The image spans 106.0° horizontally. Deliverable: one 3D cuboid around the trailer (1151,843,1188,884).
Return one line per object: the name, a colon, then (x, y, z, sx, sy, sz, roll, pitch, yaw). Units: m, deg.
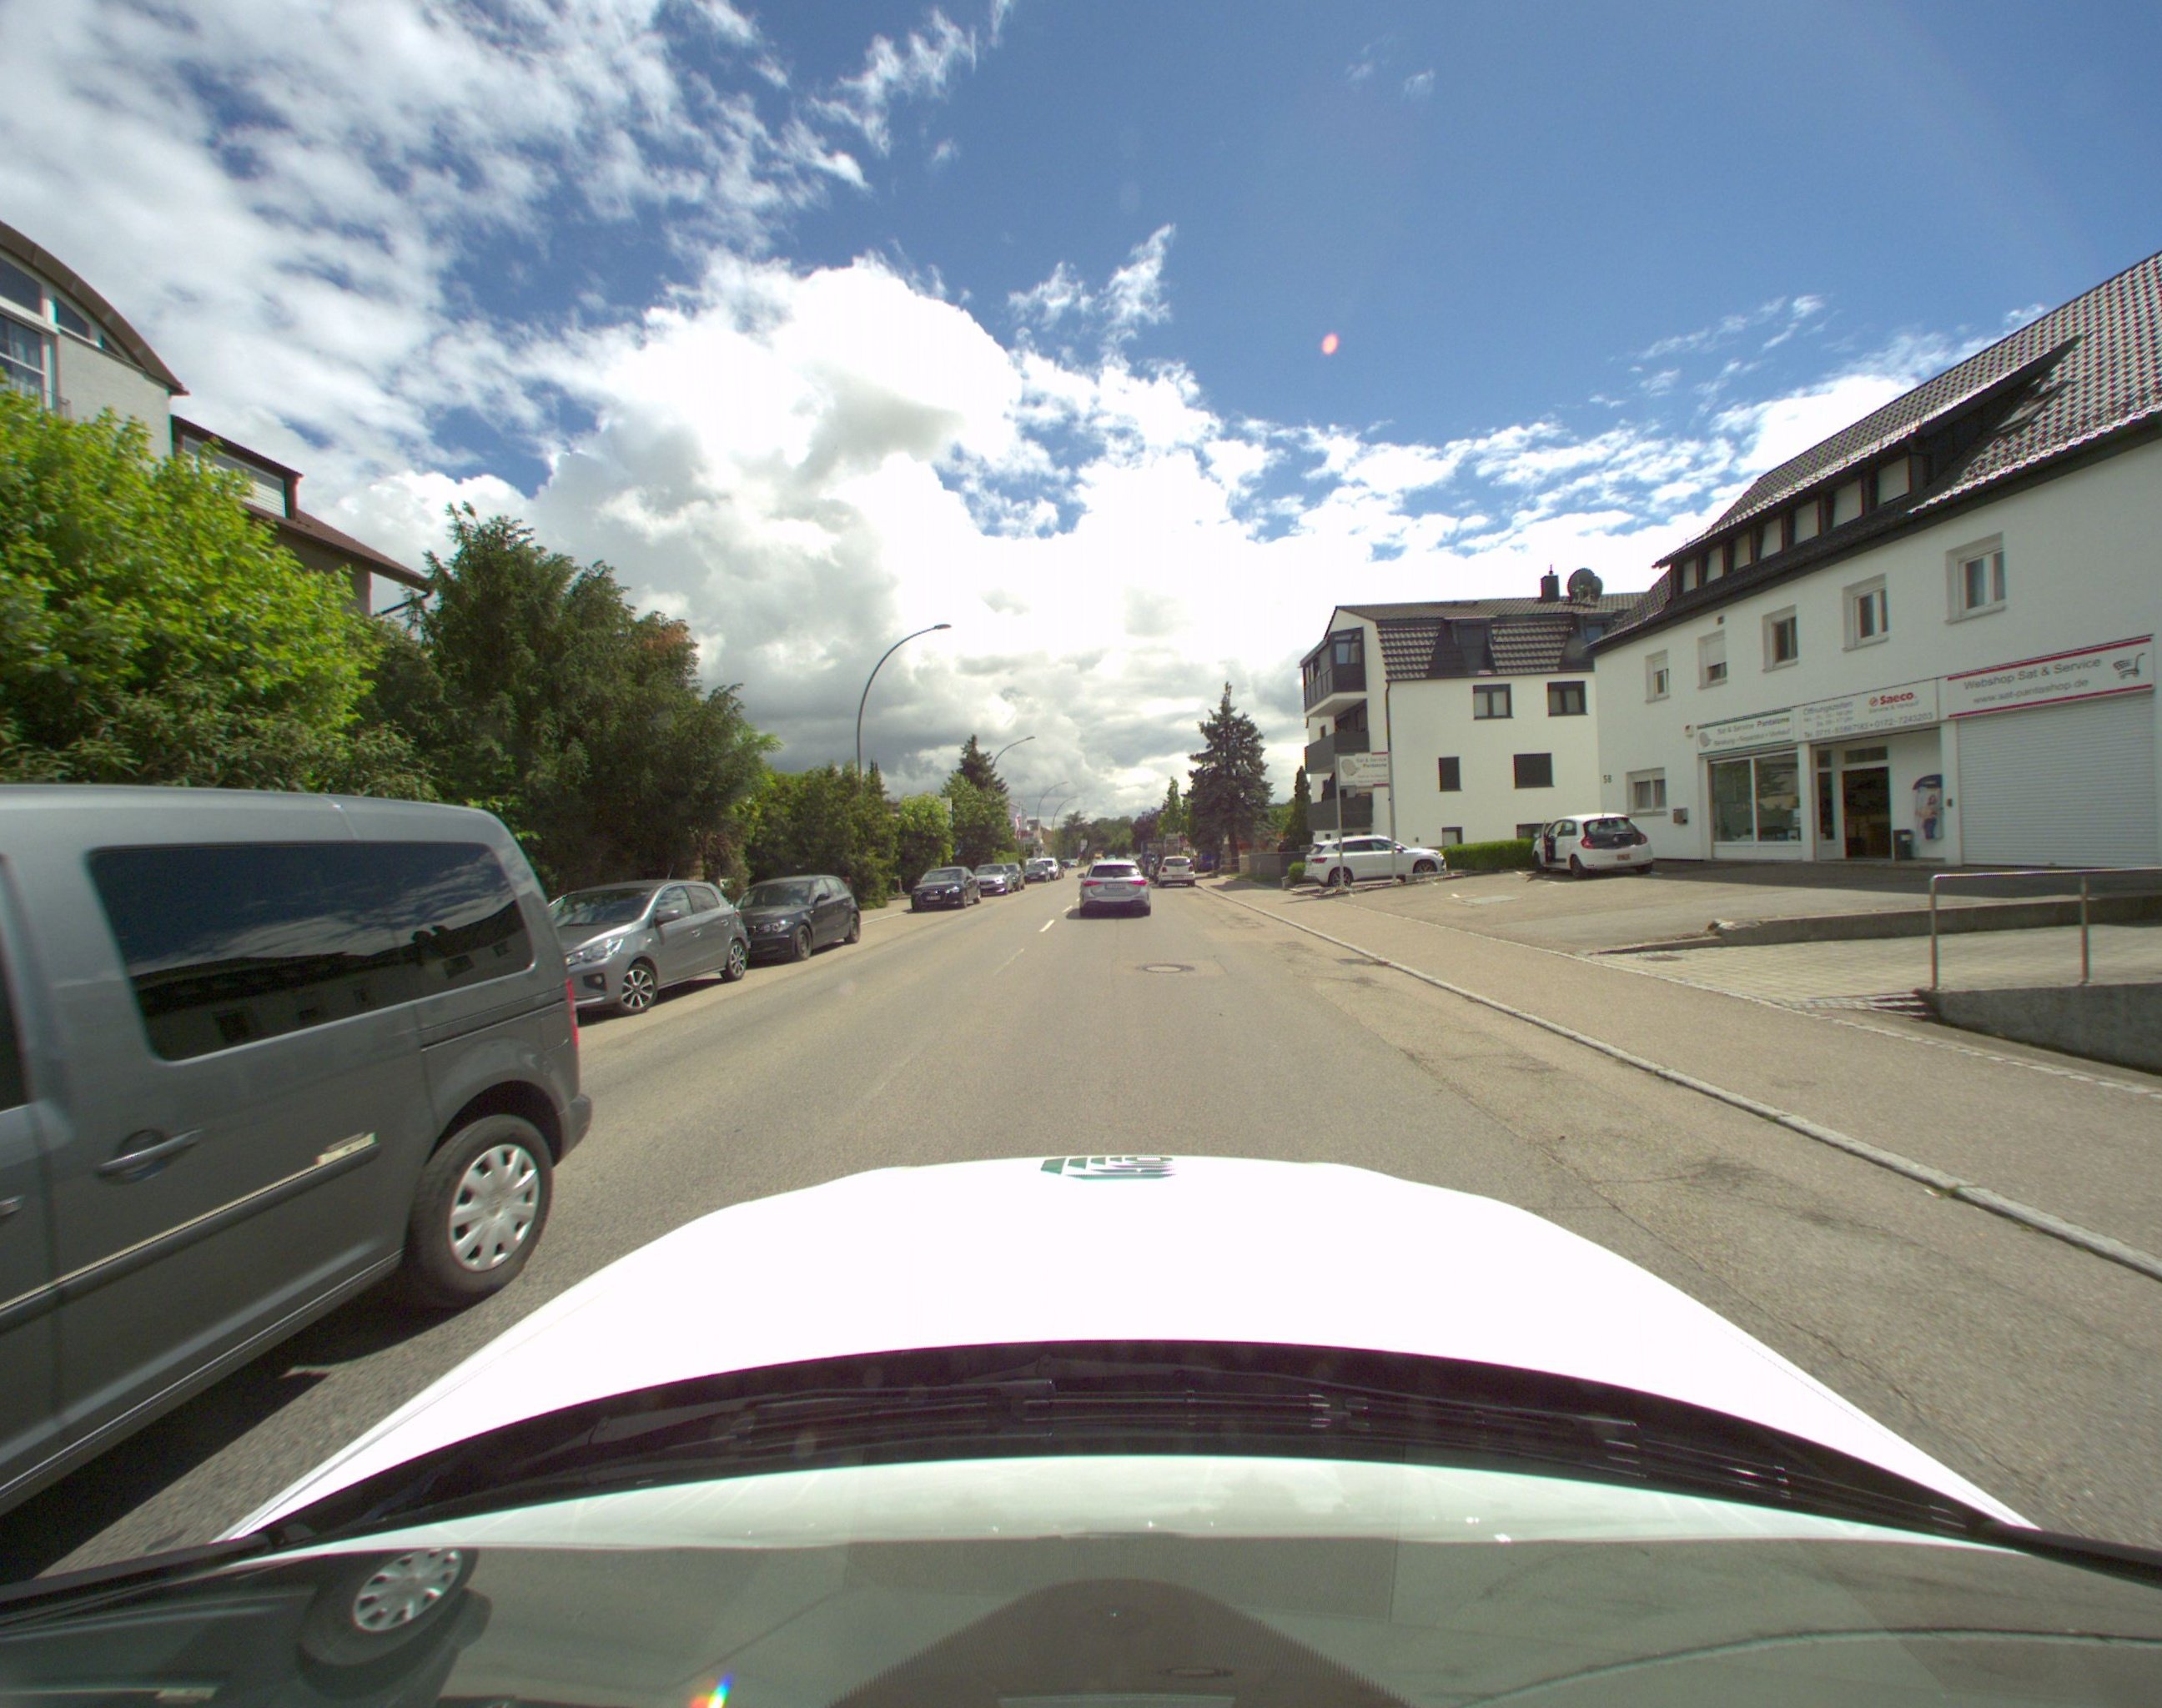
trailer: (4.993, 0.505, 46.421, 1.766, 2.145, 4.116, -3, 0, 2)

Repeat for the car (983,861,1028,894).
car: (-3.877, 1.182, 42.691, 1.713, 1.493, 4.736, -4, 0, 1)

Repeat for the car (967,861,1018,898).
car: (-4.024, 1.128, 37.681, 1.713, 1.432, 4.200, -4, 0, 1)

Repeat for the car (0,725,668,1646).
car: (-2.963, 0.686, 1.822, 1.656, 1.796, 4.340, -4, 0, 2)

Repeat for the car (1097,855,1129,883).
car: (1.907, 0.866, 48.926, 1.750, 1.558, 4.000, -2, 0, 1)

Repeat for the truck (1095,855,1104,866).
truck: (4.990, 1.703, 221.141, 2.066, 2.814, 7.086, -4, 0, 4)

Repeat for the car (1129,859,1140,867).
car: (10.708, 1.774, 163.575, 1.786, 1.450, 4.363, -4, 0, 1)

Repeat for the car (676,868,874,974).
car: (-5.296, 1.076, 14.782, 1.656, 1.435, 4.341, -5, 0, 3)

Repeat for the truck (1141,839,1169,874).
truck: (6.857, 0.228, 76.162, 2.311, 3.097, 6.047, -1, 0, 3)

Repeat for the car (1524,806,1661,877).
car: (12.941, -0.342, 20.866, 1.621, 1.519, 3.675, -6, 1, 10)

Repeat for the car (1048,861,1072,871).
car: (-4.293, 2.392, 164.705, 4.613, 1.632, 2.197, -6, 0, -1)

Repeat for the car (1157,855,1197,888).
car: (4.656, 0.811, 39.856, 1.711, 1.432, 3.989, -4, 0, 5)

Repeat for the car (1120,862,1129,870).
car: (9.138, 2.573, 170.160, 1.749, 1.558, 4.002, -2, 0, 2)

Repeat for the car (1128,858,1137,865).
car: (14.061, 2.038, 222.455, 2.135, 1.984, 5.266, -3, -1, 3)

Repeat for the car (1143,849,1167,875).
car: (6.373, 0.692, 70.573, 1.865, 2.169, 4.468, -1, 0, 3)

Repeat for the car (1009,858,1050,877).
car: (-6.122, 1.593, 97.423, 4.637, 1.972, 2.115, -3, 0, -1)

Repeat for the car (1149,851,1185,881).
car: (5.541, 0.758, 52.930, 1.867, 1.727, 4.714, -3, 0, 1)

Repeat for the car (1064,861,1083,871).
car: (-1.656, 2.630, 182.227, 4.263, 1.836, 1.991, -3, -4, 1)

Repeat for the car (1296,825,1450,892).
car: (9.251, 0.144, 26.065, 4.176, 1.654, 1.868, -6, 0, 2)

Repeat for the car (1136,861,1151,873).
car: (8.953, 1.831, 116.345, 1.932, 1.571, 4.452, -3, 0, 5)

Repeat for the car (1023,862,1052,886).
car: (-3.092, 1.423, 58.431, 1.633, 1.487, 4.001, -6, 0, 2)

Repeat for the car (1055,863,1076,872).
car: (-3.399, 3.003, 177.239, 4.261, 1.567, 1.992, -3, -4, 3)

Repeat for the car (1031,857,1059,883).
car: (-2.796, 1.223, 64.258, 1.737, 1.838, 4.357, -6, 0, 2)

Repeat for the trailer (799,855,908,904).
trailer: (-15.035, 1.666, 54.096, 6.218, 2.651, 2.733, -5, 0, 2)

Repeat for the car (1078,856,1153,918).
car: (0.890, 0.808, 22.018, 1.778, 1.484, 4.317, -1, 0, 1)

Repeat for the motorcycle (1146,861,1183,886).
motorcycle: (4.421, 1.005, 43.108, 1.830, 1.210, 0.710, -3, 0, -33)

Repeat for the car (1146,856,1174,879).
car: (5.669, 0.931, 58.605, 1.766, 1.508, 4.003, -3, 0, 3)

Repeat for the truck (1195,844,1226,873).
truck: (10.869, 0.334, 68.750, 1.822, 2.081, 5.389, -6, 1, 2)

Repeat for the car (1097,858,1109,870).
car: (3.416, 1.552, 127.527, 1.736, 1.627, 4.358, -2, 0, 2)

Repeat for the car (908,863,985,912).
car: (-4.583, 1.106, 28.343, 1.656, 1.414, 4.341, -4, 0, 3)

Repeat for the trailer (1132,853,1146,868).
trailer: (9.098, 1.038, 127.770, 1.934, 2.294, 4.447, -3, -1, 2)

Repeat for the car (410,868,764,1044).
car: (-5.613, 1.031, 9.948, 1.656, 1.511, 3.947, -5, 0, 3)
